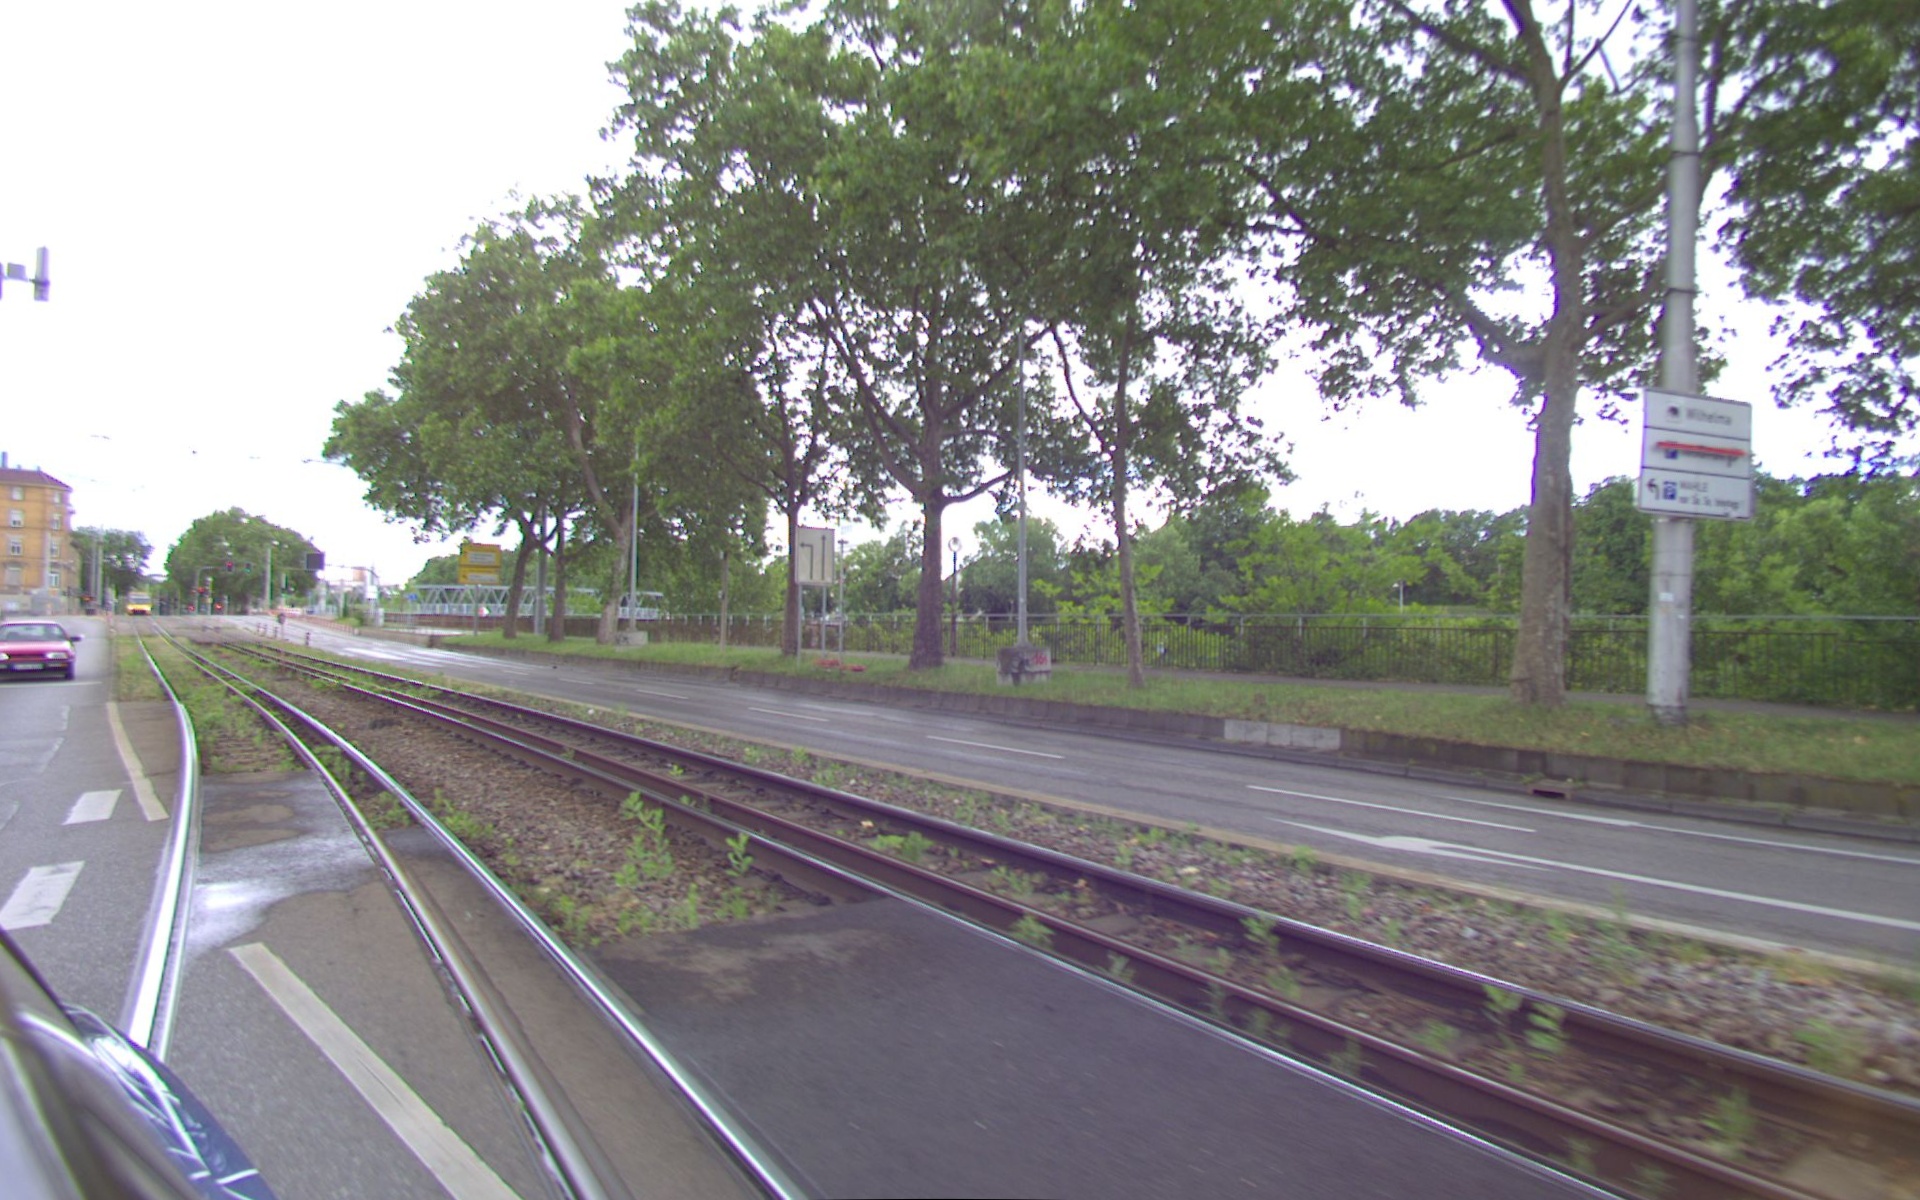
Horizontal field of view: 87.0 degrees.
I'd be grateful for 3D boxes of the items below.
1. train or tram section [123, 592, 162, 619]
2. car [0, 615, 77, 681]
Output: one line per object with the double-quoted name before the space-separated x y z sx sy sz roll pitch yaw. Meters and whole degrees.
"train or tram section" -120.002 0.710 148.486 3.683 3.390 17.583 5 -2 -41
"car" -22.361 1.094 24.318 1.656 1.453 4.126 1 -1 -40
